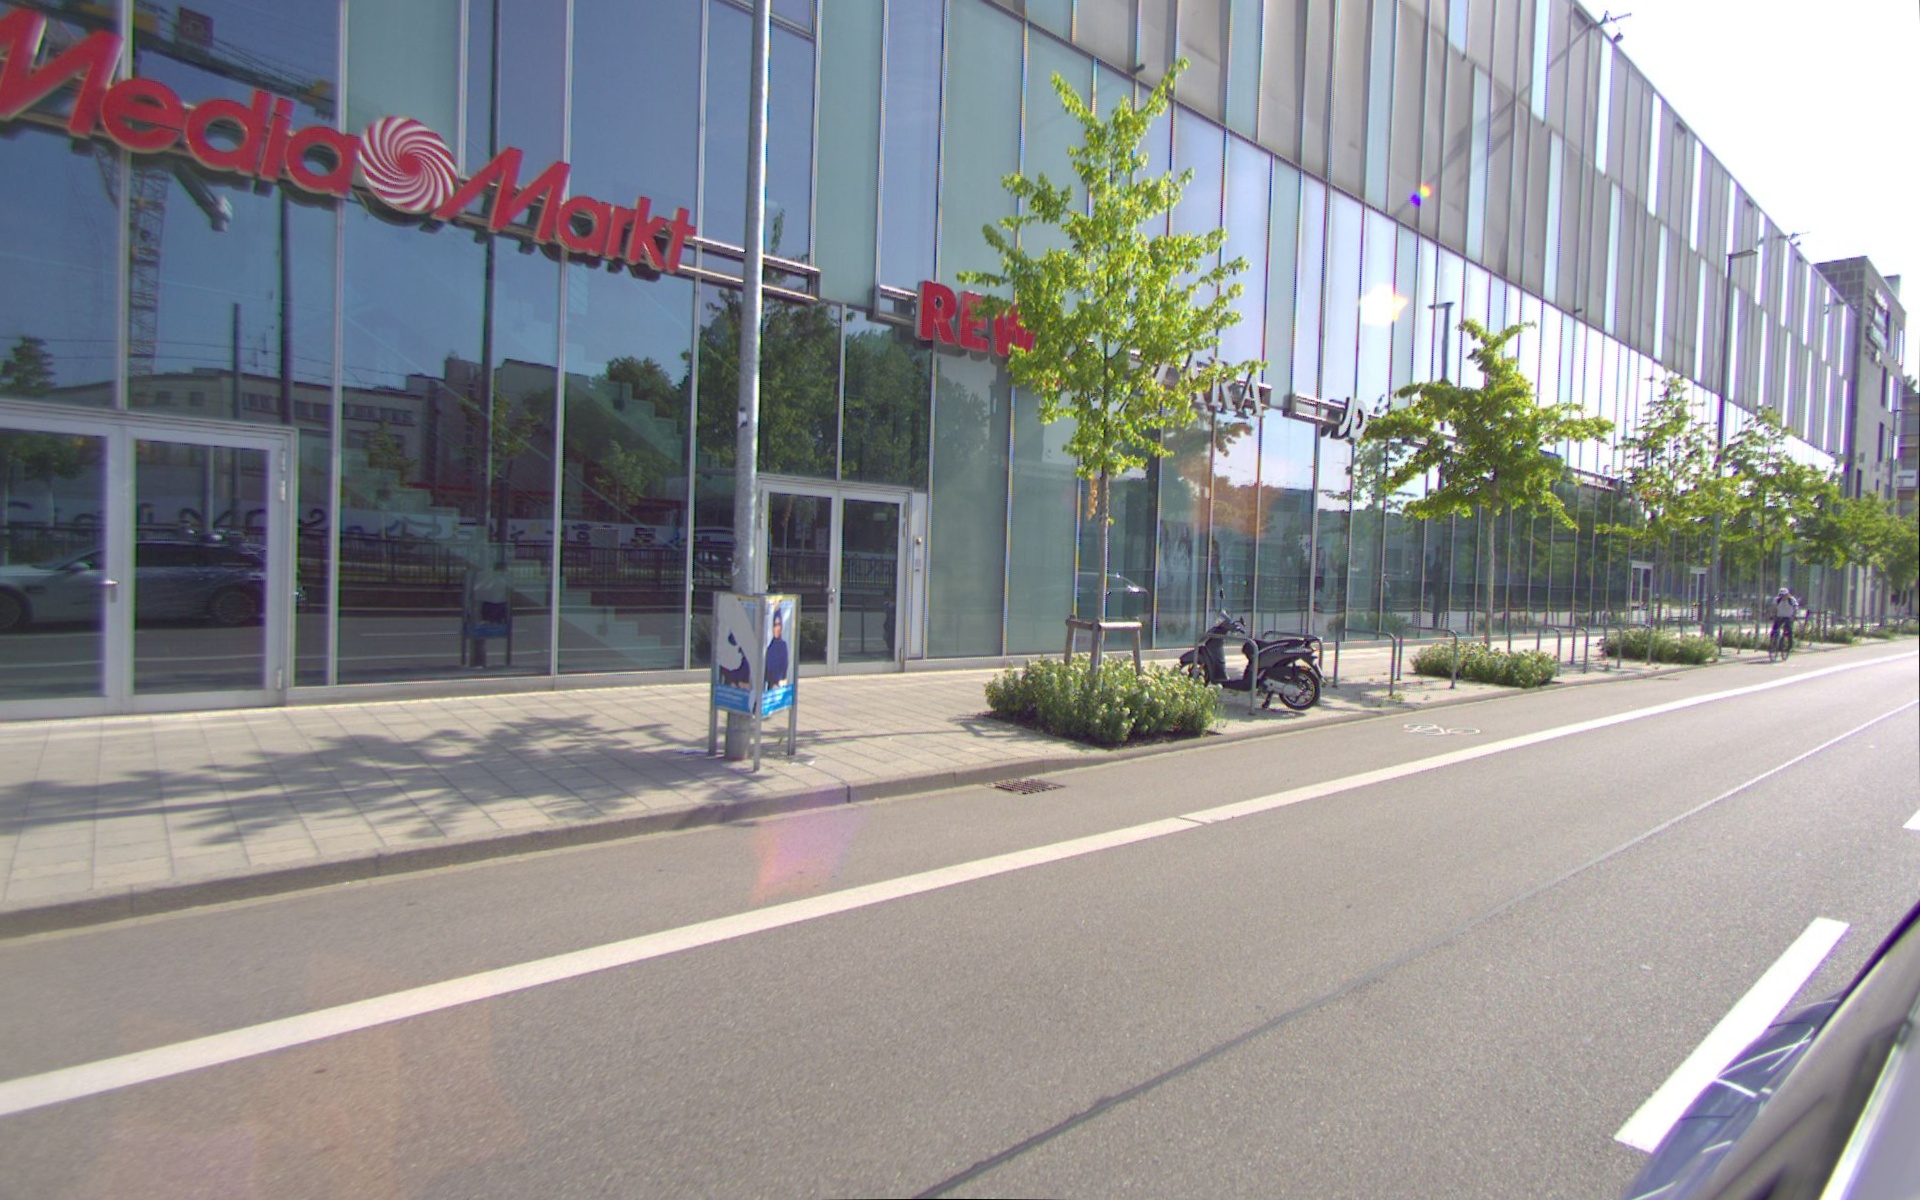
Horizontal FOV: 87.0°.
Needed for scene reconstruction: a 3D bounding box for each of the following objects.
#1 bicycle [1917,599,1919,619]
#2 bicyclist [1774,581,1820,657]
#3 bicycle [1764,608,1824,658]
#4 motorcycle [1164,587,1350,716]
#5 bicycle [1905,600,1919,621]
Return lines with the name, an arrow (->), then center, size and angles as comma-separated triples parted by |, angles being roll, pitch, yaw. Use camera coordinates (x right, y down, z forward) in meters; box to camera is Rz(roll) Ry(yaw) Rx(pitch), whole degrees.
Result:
bicycle -> 55.042, 0.537, 56.783 | 0.674, 1.127, 1.844 | 1, 0, -38
bicyclist -> 20.333, 0.451, 24.595 | 0.755, 1.770, 0.653 | 1, 2, -37
bicycle -> 20.177, 0.771, 24.478 | 2.013, 1.131, 0.663 | 1, 2, -38
motorcycle -> 3.583, 0.569, 12.306 | 1.967, 1.366, 0.855 | 3, 2, 40
bicycle -> 51.896, 0.605, 54.147 | 0.481, 1.123, 1.884 | 1, 2, -38
